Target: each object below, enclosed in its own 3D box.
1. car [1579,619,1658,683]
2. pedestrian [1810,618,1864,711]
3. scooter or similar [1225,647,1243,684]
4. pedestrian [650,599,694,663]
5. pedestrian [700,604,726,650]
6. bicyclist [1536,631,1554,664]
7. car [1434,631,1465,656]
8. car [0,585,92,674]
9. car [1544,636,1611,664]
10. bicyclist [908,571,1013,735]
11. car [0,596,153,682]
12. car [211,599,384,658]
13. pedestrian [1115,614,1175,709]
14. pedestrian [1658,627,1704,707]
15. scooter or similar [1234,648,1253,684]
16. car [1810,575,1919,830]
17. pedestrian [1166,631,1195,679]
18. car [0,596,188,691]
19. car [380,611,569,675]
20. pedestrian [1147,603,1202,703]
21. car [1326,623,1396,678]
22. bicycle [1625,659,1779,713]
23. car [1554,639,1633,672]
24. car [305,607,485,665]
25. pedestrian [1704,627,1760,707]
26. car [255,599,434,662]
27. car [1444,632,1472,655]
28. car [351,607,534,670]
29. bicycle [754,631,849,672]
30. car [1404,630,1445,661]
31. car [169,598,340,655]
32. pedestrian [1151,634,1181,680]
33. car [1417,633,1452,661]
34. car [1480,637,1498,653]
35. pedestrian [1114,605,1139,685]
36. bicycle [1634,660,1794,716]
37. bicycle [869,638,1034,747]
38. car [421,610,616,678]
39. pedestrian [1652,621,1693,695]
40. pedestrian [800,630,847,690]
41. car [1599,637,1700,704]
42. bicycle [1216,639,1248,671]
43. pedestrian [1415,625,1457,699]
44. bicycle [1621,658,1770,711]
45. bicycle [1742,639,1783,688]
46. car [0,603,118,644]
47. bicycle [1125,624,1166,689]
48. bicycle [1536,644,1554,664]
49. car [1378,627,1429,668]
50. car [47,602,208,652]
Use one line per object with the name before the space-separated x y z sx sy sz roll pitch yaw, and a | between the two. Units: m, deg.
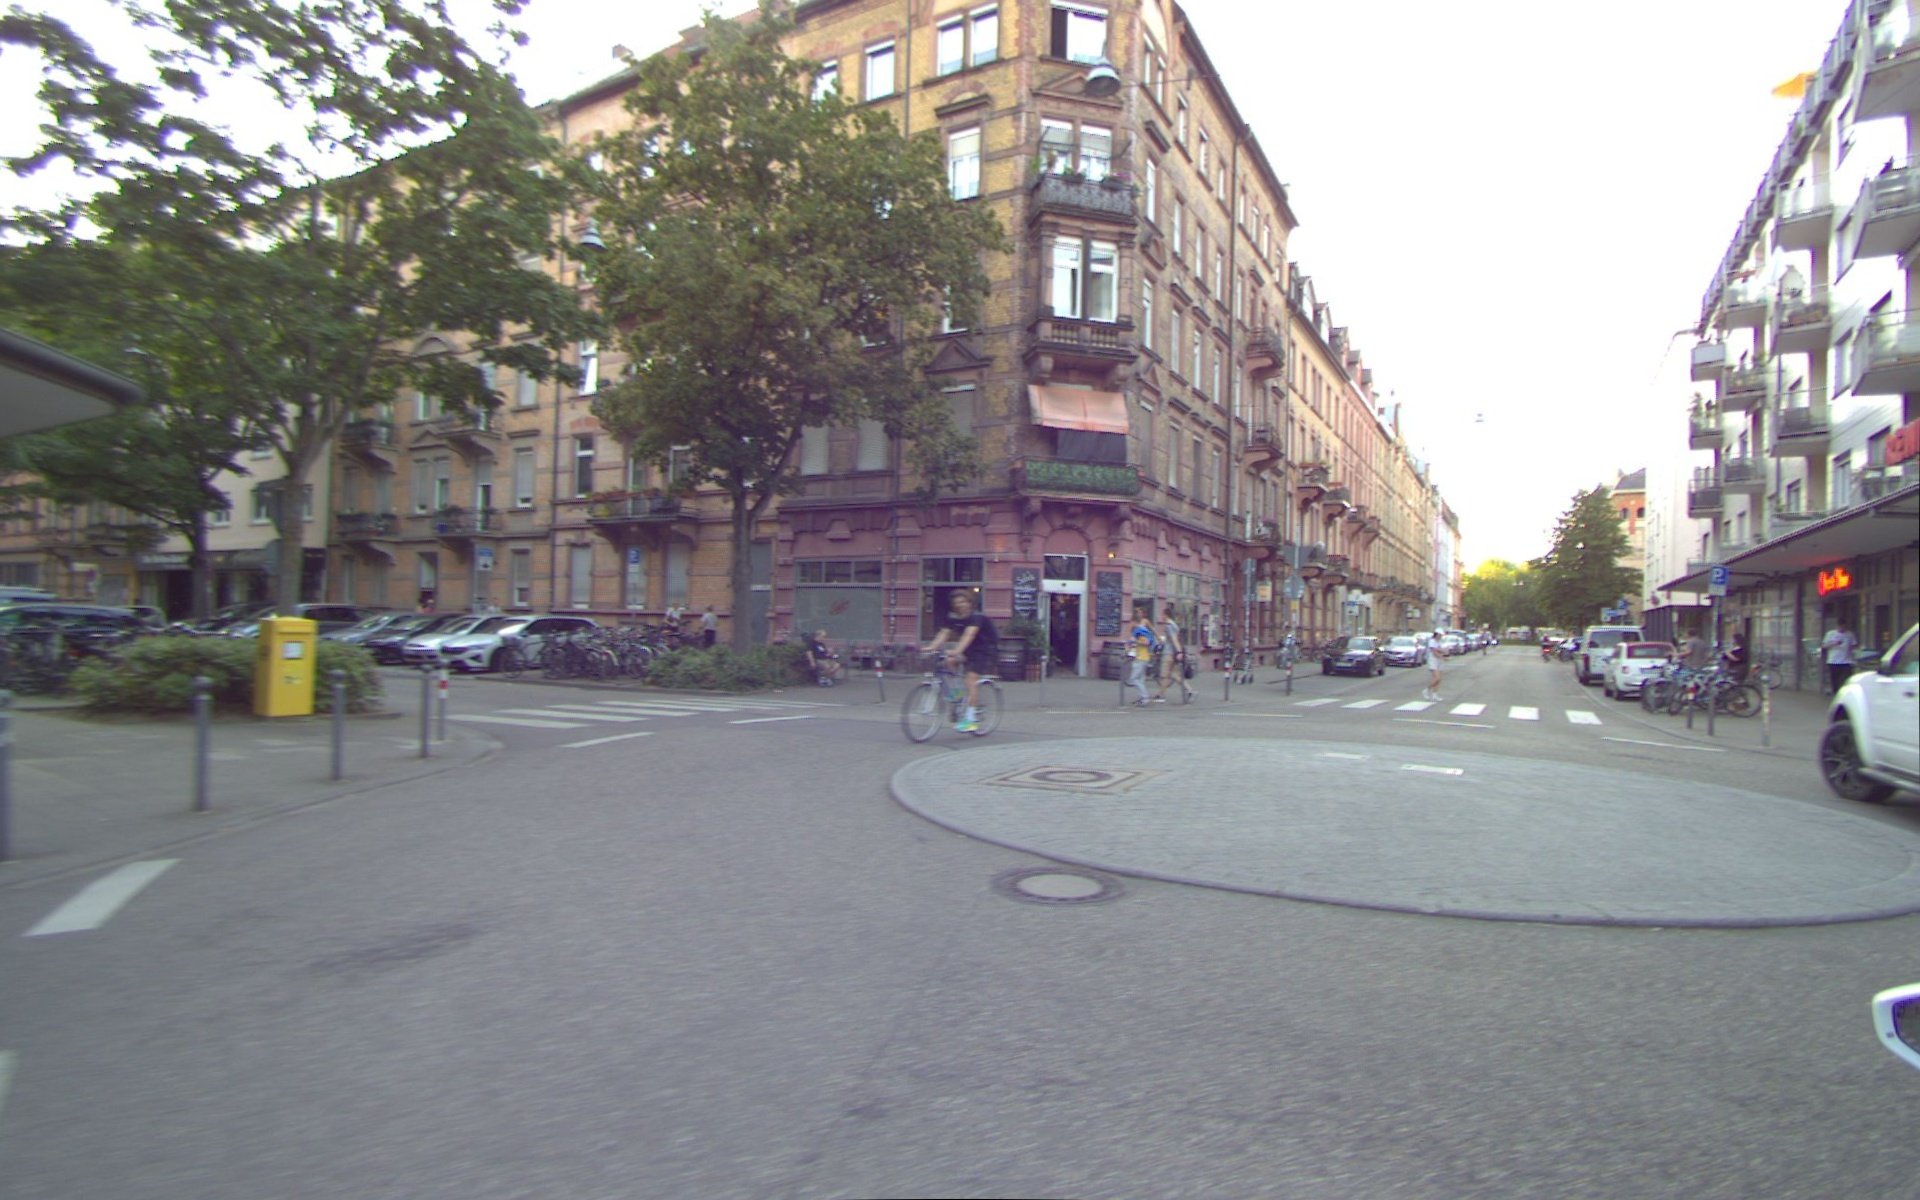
car | 22.508 1.719 34.448 1.914 1.959 3.994 2 -1 29
pedestrian | 18.973 1.385 21.747 0.709 1.931 0.701 2 -1 30
scooter or similar | 7.560 1.797 27.752 0.229 0.941 1.267 3 -1 5
pedestrian | -8.113 0.865 28.312 0.905 1.747 0.667 2 -1 30
pedestrian | -7.182 0.784 29.179 0.569 1.279 0.452 3 -1 -35
bicyclist | 35.617 2.899 61.134 0.826 1.969 0.783 2 -1 33
car | 36.872 3.259 75.650 1.807 1.773 3.994 2 -1 29
car | -21.286 0.561 20.847 1.964 1.854 4.490 2 -1 29
car | 44.234 3.592 72.050 3.928 1.773 1.838 2 -1 30
bicyclist | 0.006 0.627 12.276 0.872 1.901 0.830 3 -1 -43
car | -19.011 0.725 19.716 1.964 1.599 4.490 2 -1 29
car | -22.545 1.003 34.372 1.964 1.822 4.490 2 -1 29
pedestrian | 3.558 1.174 19.350 0.891 1.759 0.614 2 -1 36
pedestrian | 15.818 1.462 22.059 0.709 1.685 0.701 2 -1 30
scooter or similar | 7.817 1.809 27.732 0.229 0.941 1.267 3 -1 5
car | 7.929 0.753 7.094 1.909 1.834 4.993 1 0 28
pedestrian | 6.259 1.563 28.534 0.638 1.302 0.539 2 -1 26
car | -17.062 0.750 18.138 1.964 1.599 4.490 2 -1 29
car | -13.677 1.219 28.572 1.964 1.599 4.490 2 -1 29
pedestrian | 4.274 1.050 20.099 0.889 1.910 0.616 3 -1 0
car | 14.528 1.805 36.301 1.807 1.773 3.994 2 -1 29
bicycle | 15.154 1.750 20.594 2.423 1.052 0.616 -2 -3 26
car | 38.542 3.357 61.261 3.928 1.773 1.838 2 -1 30
car | -17.450 1.130 31.250 1.964 1.599 4.490 2 -1 29
pedestrian | 16.842 1.445 21.910 0.713 1.685 0.698 3 -1 -27
car | -19.774 1.008 32.468 1.964 1.822 4.490 2 -1 29
car | 40.866 3.554 82.339 1.807 1.773 3.994 2 -1 29
car | -15.309 1.145 29.977 1.964 1.641 4.490 2 -1 29
bicycle | -4.476 1.430 28.209 2.853 0.971 0.624 2 -1 30
car | 27.149 2.653 58.615 1.807 1.700 4.031 2 -1 29
car | -24.950 0.958 35.699 1.964 1.822 4.490 2 -1 29
pedestrian | 5.647 1.561 27.520 0.638 1.206 0.539 2 -1 26
car | 31.981 3.159 67.679 1.807 1.773 3.994 2 -1 29
car | 63.279 5.407 120.063 1.807 1.773 3.994 2 -1 29
pedestrian | 3.968 1.062 24.020 0.495 1.864 0.573 3 -1 8
bicycle | 14.905 1.734 19.952 2.423 1.052 0.616 -2 -3 26
bicycle | -0.073 1.092 12.200 1.923 1.187 0.830 4 -1 -44
car | -11.798 1.187 27.164 1.964 1.599 4.490 2 -1 29
pedestrian | 16.845 1.369 23.760 0.690 1.685 0.721 2 -1 31
pedestrian | -3.050 1.342 22.483 0.743 1.279 0.667 2 -1 30
car | 18.267 1.823 26.766 1.807 1.562 3.994 2 -1 29
bicycle | 9.448 1.884 34.785 0.381 1.050 2.478 2 -1 31
pedestrian | 11.077 1.431 23.369 0.786 1.642 0.943 2 -1 28
bicycle | 15.451 1.777 21.194 2.423 1.052 0.616 -2 -3 26
bicycle | 24.672 1.928 30.911 0.547 1.426 2.093 2 -1 28
car | -39.492 1.010 43.282 1.964 1.636 4.490 2 -1 29
bicycle | 4.385 1.324 23.683 0.417 1.461 1.903 2 -1 25
bicycle | 35.648 3.284 61.228 0.826 1.187 1.931 2 -1 33
car | 21.459 2.282 48.493 1.807 1.773 4.156 2 -1 29
car | -33.008 1.108 39.984 1.964 1.822 4.490 2 -1 29
